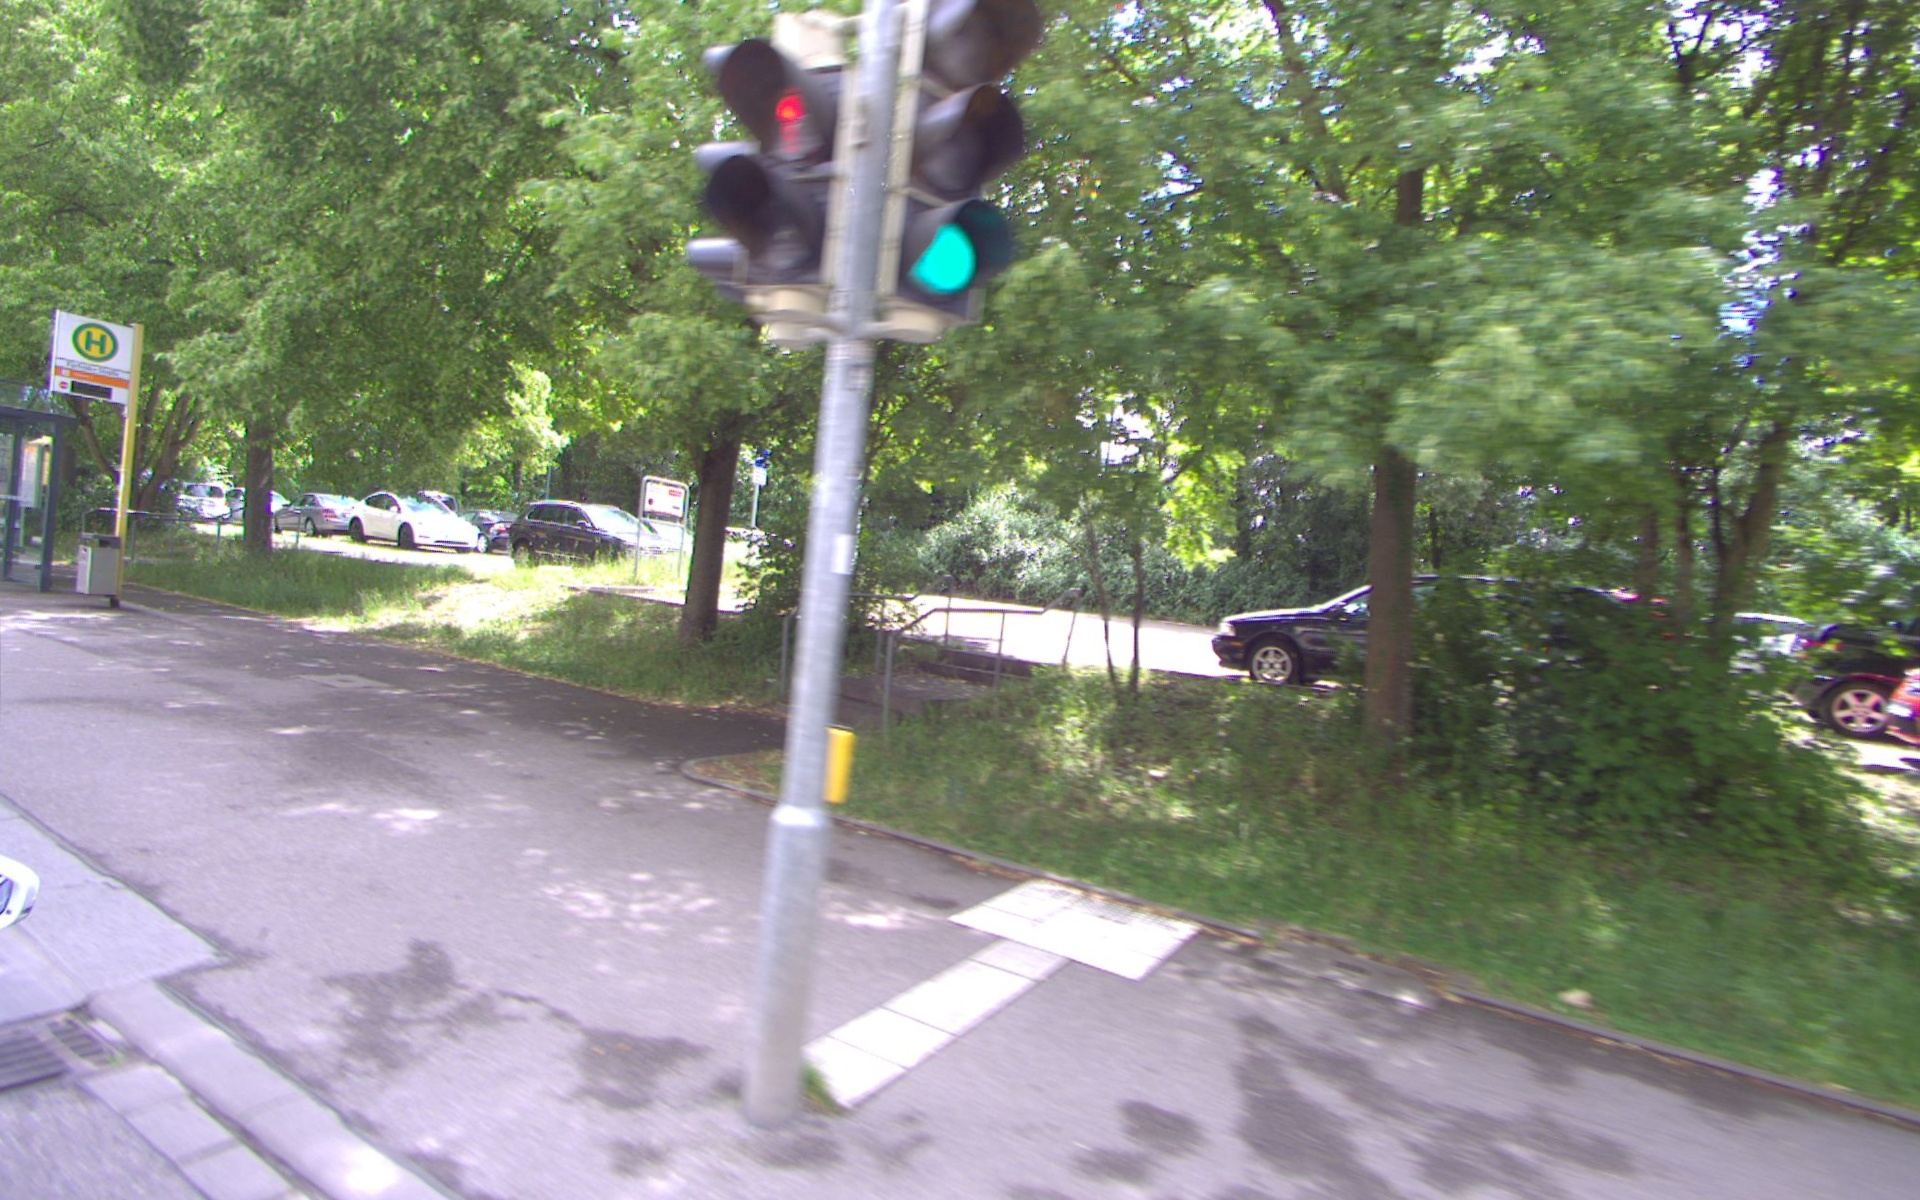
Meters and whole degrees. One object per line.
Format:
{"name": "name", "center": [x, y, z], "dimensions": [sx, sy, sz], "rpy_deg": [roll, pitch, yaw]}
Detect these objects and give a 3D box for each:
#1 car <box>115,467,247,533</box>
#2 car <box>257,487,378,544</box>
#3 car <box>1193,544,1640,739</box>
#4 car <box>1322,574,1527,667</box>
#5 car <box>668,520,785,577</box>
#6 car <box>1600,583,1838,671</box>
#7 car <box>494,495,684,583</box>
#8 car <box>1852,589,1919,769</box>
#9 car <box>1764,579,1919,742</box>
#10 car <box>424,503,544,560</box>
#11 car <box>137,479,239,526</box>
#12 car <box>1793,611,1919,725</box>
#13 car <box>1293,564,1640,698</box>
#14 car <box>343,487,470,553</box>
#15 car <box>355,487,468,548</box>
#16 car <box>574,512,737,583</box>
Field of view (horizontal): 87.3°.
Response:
{"name": "car", "center": [-25.596, -3.305, 33.013], "dimensions": [4.646, 1.682, 1.849], "rpy_deg": [7, 0, 32]}
{"name": "car", "center": [-20.869, -2.750, 32.640], "dimensions": [4.281, 1.462, 1.613], "rpy_deg": [7, 3, 32]}
{"name": "car", "center": [4.851, 0.330, 11.000], "dimensions": [4.070, 1.535, 1.626], "rpy_deg": [7, 4, 32]}
{"name": "car", "center": [10.814, 0.462, 23.453], "dimensions": [4.031, 1.645, 2.061], "rpy_deg": [7, 1, 30]}
{"name": "car", "center": [-6.229, -1.381, 26.813], "dimensions": [2.812, 1.321, 1.407], "rpy_deg": [5, 3, 31]}
{"name": "car", "center": [15.246, 0.508, 20.471], "dimensions": [3.602, 1.346, 1.631], "rpy_deg": [7, 3, 32]}
{"name": "car", "center": [-8.324, -1.378, 22.467], "dimensions": [4.191, 1.717, 1.687], "rpy_deg": [5, 3, 31]}
{"name": "car", "center": [9.983, 0.851, 8.249], "dimensions": [3.602, 1.521, 1.661], "rpy_deg": [7, 3, 32]}
{"name": "car", "center": [11.112, 0.765, 10.740], "dimensions": [3.602, 1.603, 1.752], "rpy_deg": [7, 3, 32]}
{"name": "car", "center": [-15.500, -2.237, 32.715], "dimensions": [3.936, 1.472, 1.682], "rpy_deg": [7, 1, 34]}
{"name": "car", "center": [-29.998, -3.789, 39.065], "dimensions": [4.056, 1.439, 1.841], "rpy_deg": [7, 2, 32]}
{"name": "car", "center": [14.450, 1.093, 14.161], "dimensions": [3.794, 1.462, 1.755], "rpy_deg": [7, 3, 29]}
{"name": "car", "center": [7.724, 0.404, 15.615], "dimensions": [4.469, 1.498, 1.752], "rpy_deg": [7, 3, 32]}
{"name": "car", "center": [-16.524, -2.393, 29.962], "dimensions": [4.360, 1.577, 1.468], "rpy_deg": [7, 4, 34]}
{"name": "car", "center": [-19.303, -2.904, 35.359], "dimensions": [4.138, 1.815, 1.612], "rpy_deg": [7, 4, 32]}
{"name": "car", "center": [-7.446, -1.288, 24.540], "dimensions": [3.731, 1.512, 1.687], "rpy_deg": [5, 3, 31]}
